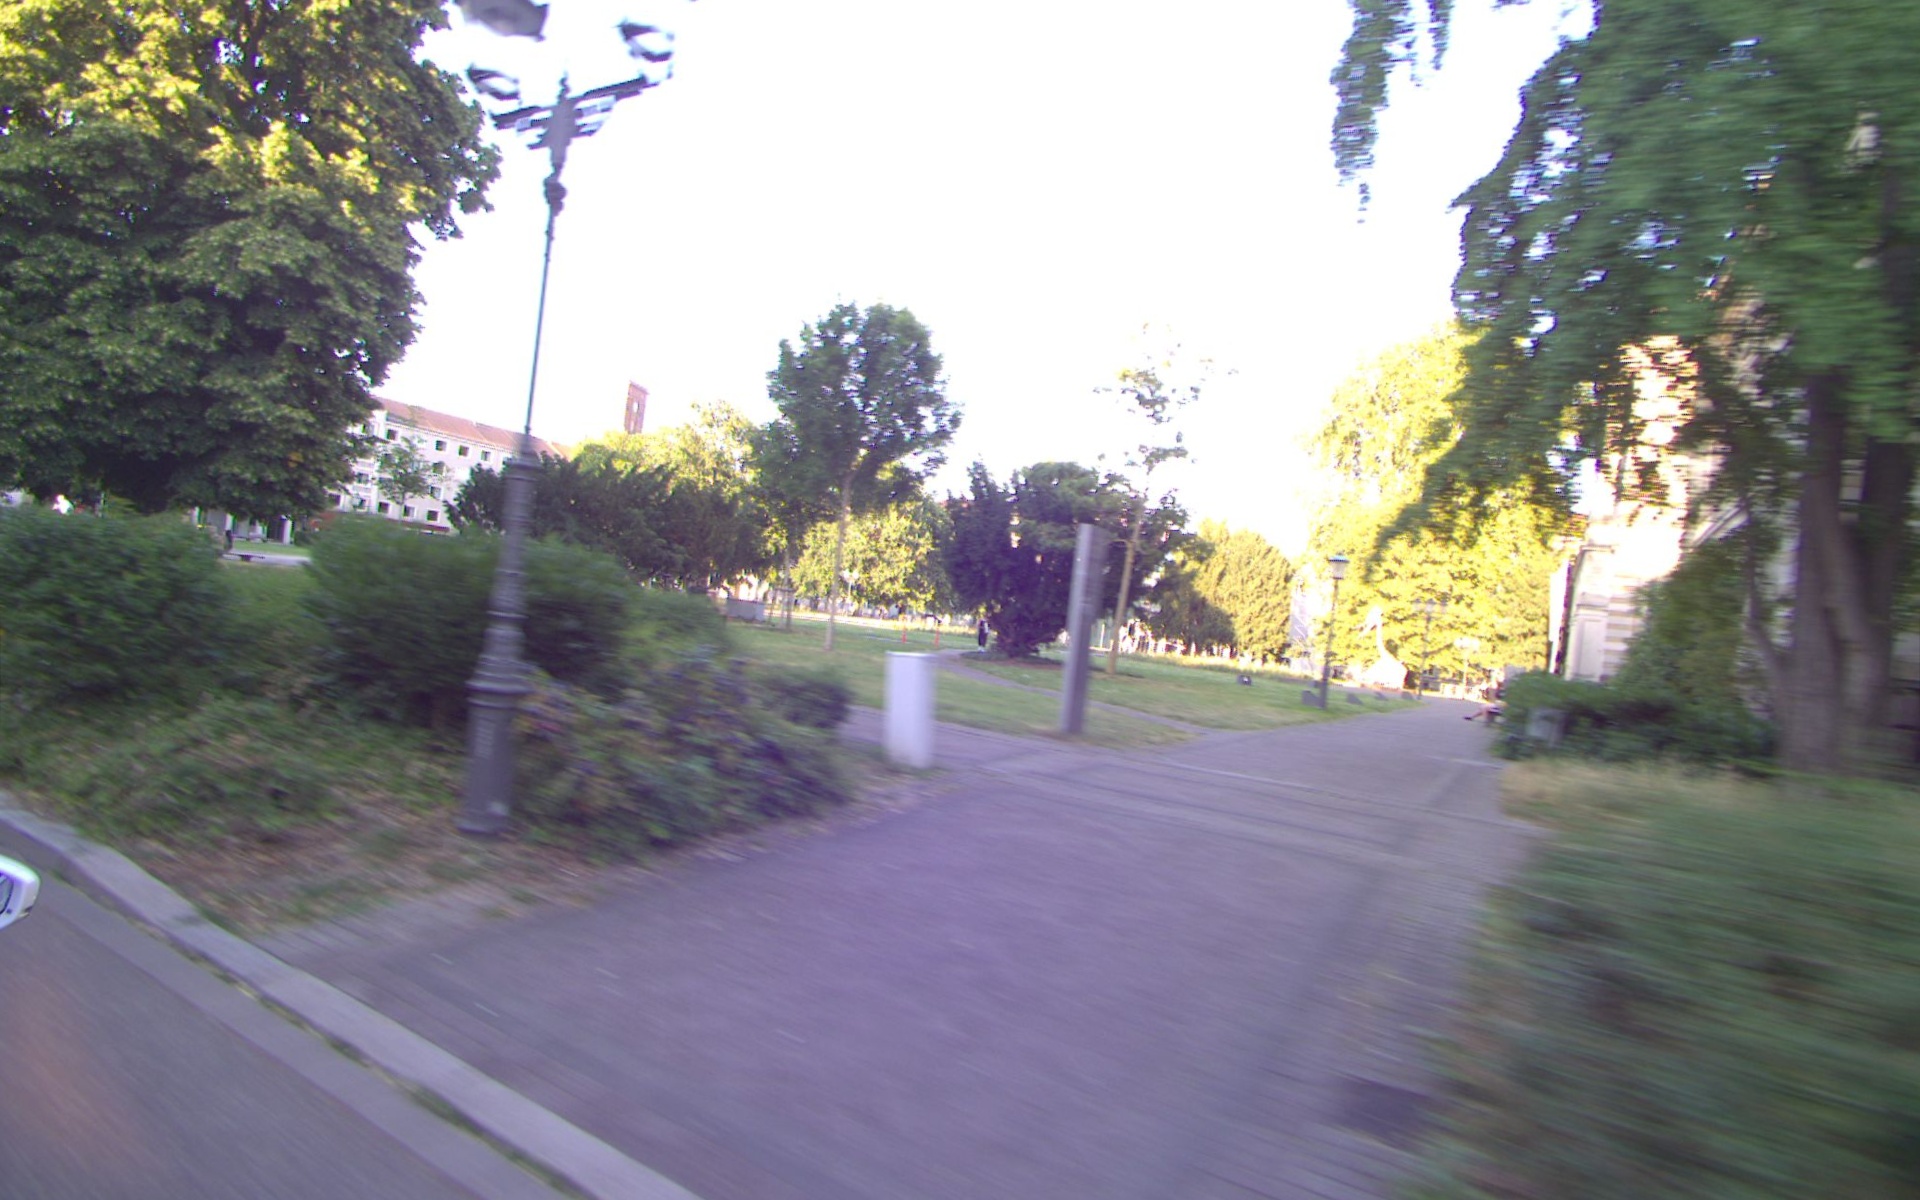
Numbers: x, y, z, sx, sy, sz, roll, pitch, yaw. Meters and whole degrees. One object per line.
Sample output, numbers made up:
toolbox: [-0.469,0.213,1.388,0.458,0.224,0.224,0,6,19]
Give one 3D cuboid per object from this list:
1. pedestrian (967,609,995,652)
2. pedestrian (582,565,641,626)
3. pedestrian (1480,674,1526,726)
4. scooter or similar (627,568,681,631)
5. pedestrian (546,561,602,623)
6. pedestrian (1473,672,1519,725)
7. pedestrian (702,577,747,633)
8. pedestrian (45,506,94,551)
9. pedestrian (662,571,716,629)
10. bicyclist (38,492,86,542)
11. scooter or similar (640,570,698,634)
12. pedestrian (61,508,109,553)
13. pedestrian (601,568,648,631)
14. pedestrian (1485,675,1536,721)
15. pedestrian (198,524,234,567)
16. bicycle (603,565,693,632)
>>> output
pedestrian: [0.911,1.333,43.596,0.745,1.769,0.772,7,1,28]
pedestrian: [-7.576,-0.092,21.885,0.777,1.206,0.807,7,0,34]
pedestrian: [16.395,2.997,30.372,1.027,1.415,0.694,7,1,32]
scooter or similar: [-6.544,0.006,21.544,0.410,1.261,1.221,6,0,15]
pedestrian: [-8.190,-0.162,21.363,0.735,1.206,0.722,7,1,34]
pedestrian: [15.701,2.875,29.467,1.027,1.415,0.694,7,1,32]
pedestrian: [-6.234,0.145,26.684,0.773,1.364,0.761,6,1,15]
pedestrian: [-27.519,-2.208,31.093,0.803,1.253,0.683,6,0,1]
pedestrian: [-6.982,0.014,25.979,0.868,1.364,0.920,6,0,16]
bicyclist: [-33.256,-3.066,37.279,0.585,1.653,1.064,7,0,22]
scooter or similar: [-6.085,0.059,21.085,0.410,1.261,1.220,6,0,19]
pedestrian: [-27.607,-2.182,31.747,0.857,1.277,0.598,6,0,0]
pedestrian: [-6.950,-0.013,20.838,0.657,1.206,0.789,6,1,-31]
pedestrian: [21.338,3.788,38.978,1.541,1.576,0.800,7,1,32]
pedestrian: [-25.765,-1.878,34.853,0.804,1.358,0.598,7,0,26]
bicycle: [-7.141,-0.045,22.987,1.983,1.316,0.620,6,1,27]
